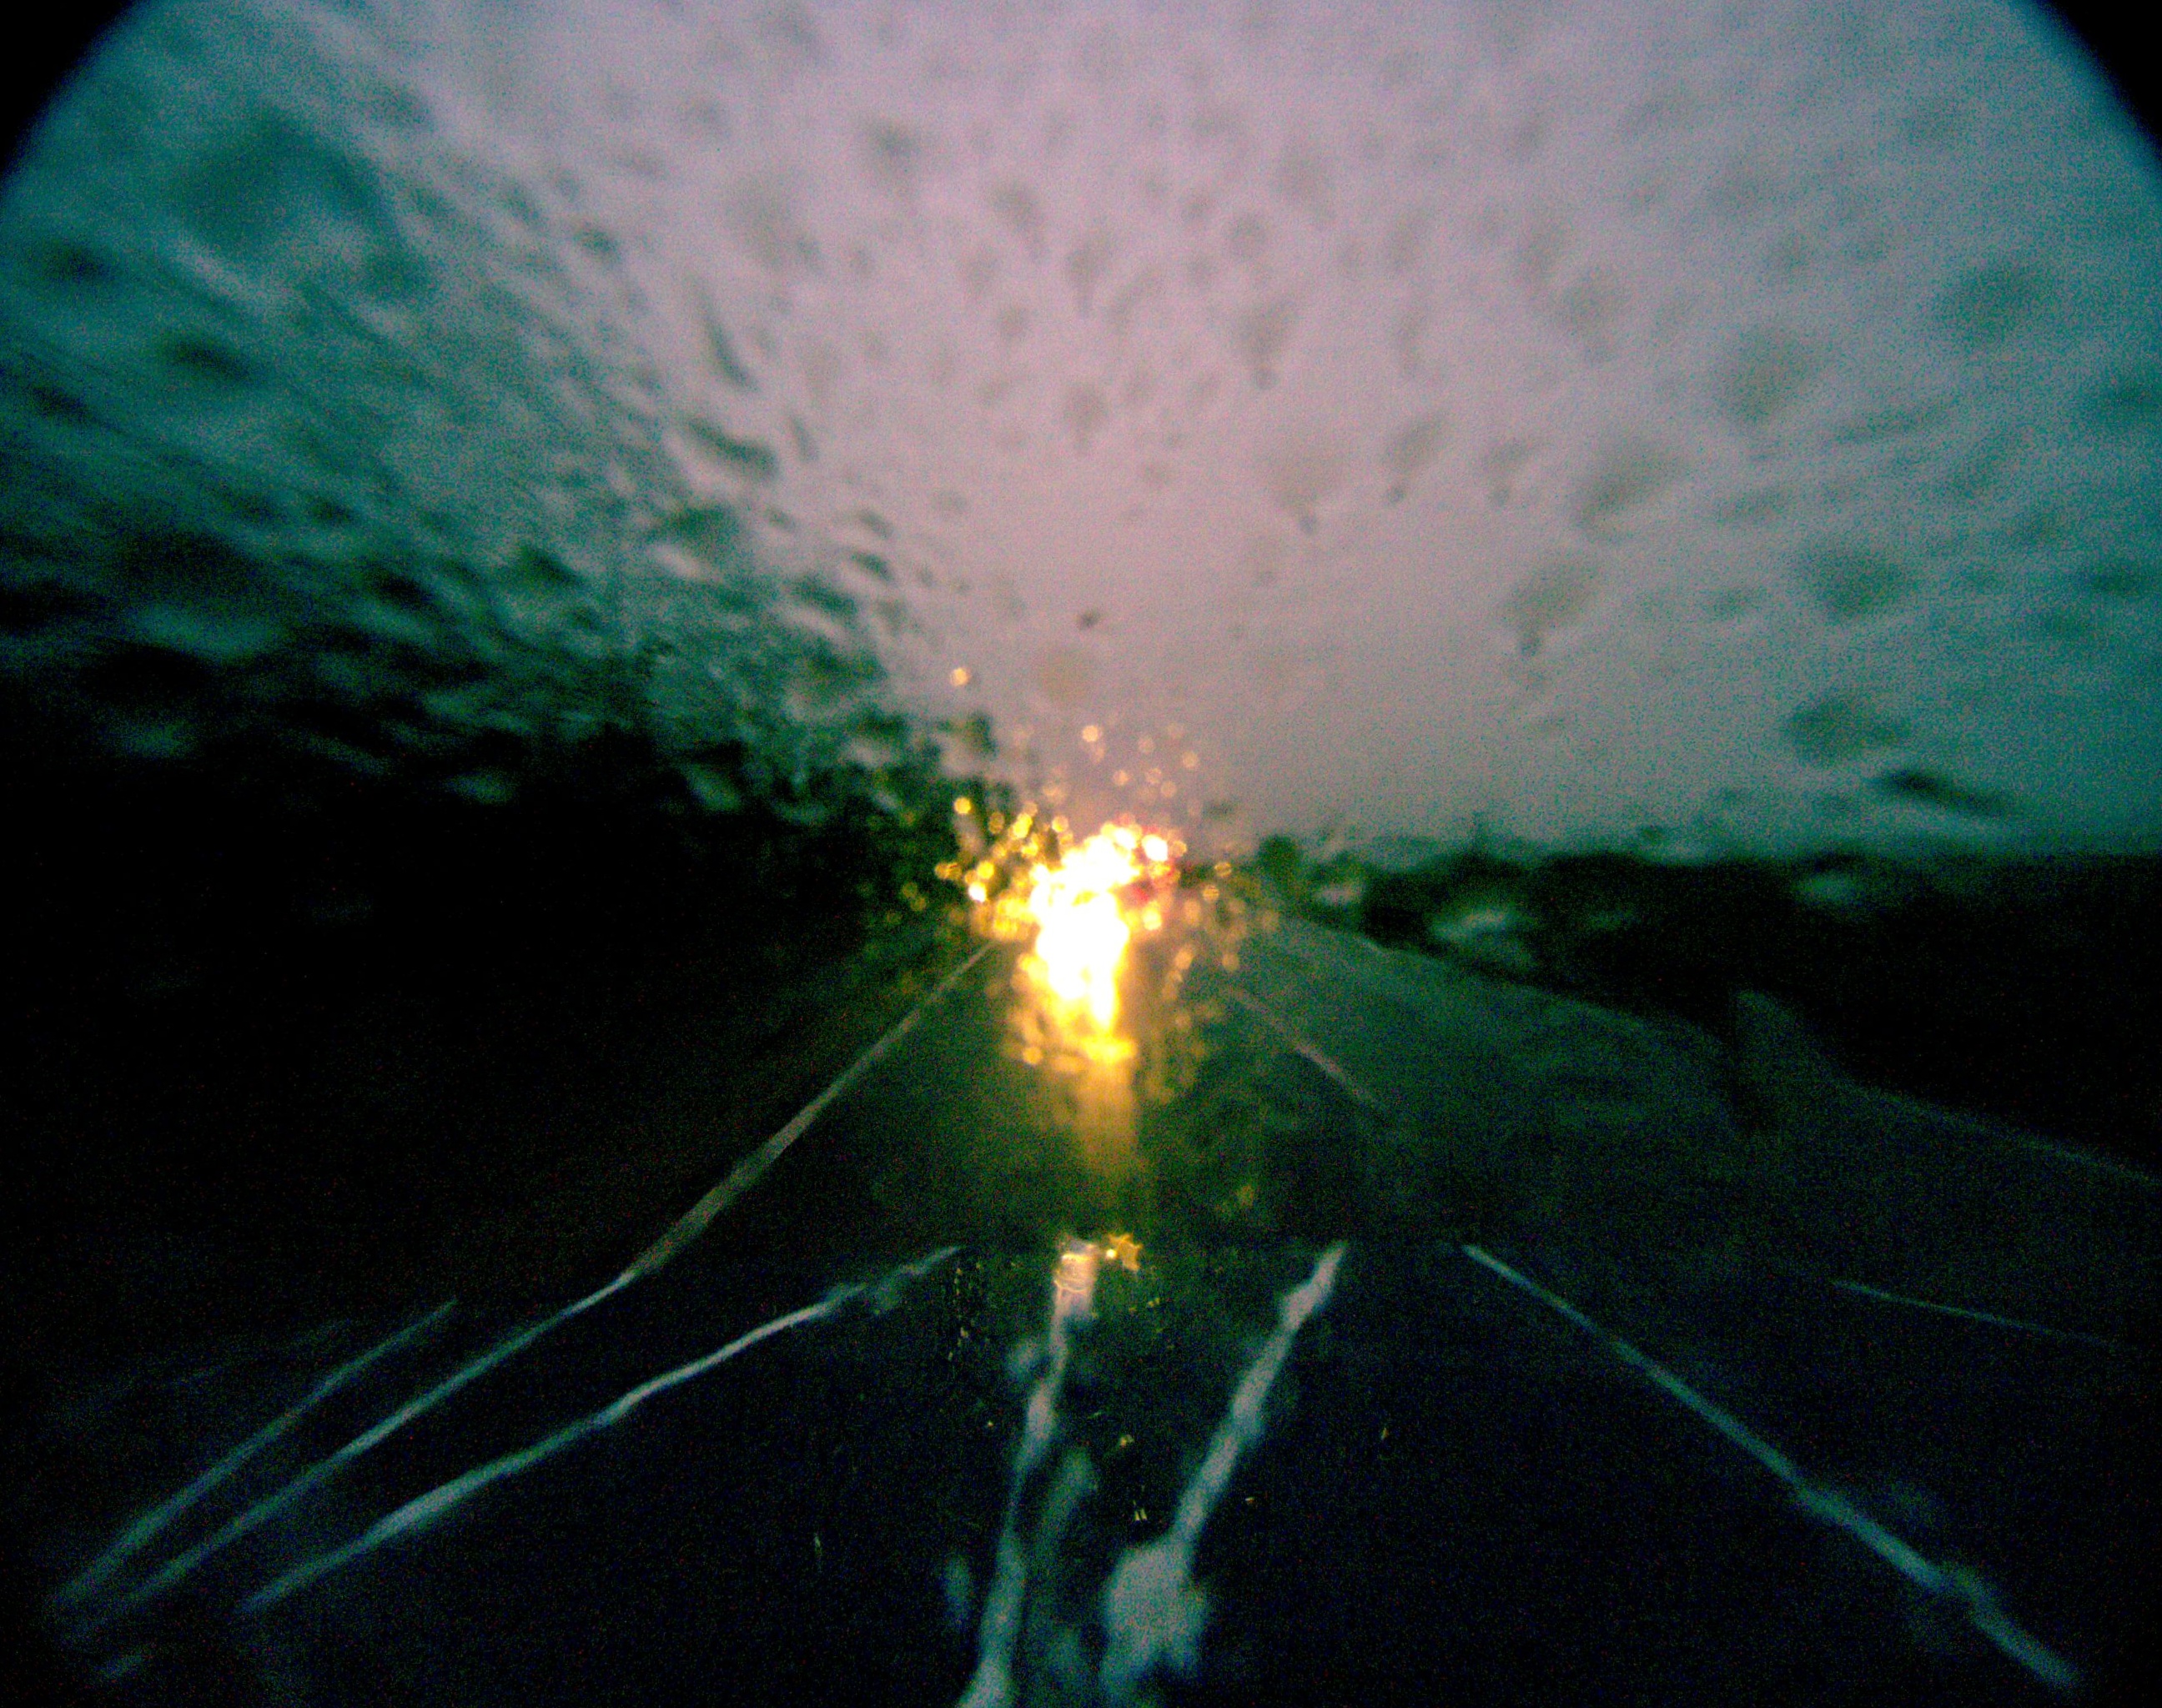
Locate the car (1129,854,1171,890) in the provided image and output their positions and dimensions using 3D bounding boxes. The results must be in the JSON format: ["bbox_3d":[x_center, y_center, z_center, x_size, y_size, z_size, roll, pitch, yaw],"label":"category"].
[{"bbox_3d":[3.581,0.907,40.053,1.844,1.711,3.956,-2,0,0],"label":"car"}]

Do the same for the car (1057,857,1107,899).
[{"bbox_3d":[0.041,0.931,30.855,1.844,1.484,3.956,-2,0,0],"label":"car"}]
